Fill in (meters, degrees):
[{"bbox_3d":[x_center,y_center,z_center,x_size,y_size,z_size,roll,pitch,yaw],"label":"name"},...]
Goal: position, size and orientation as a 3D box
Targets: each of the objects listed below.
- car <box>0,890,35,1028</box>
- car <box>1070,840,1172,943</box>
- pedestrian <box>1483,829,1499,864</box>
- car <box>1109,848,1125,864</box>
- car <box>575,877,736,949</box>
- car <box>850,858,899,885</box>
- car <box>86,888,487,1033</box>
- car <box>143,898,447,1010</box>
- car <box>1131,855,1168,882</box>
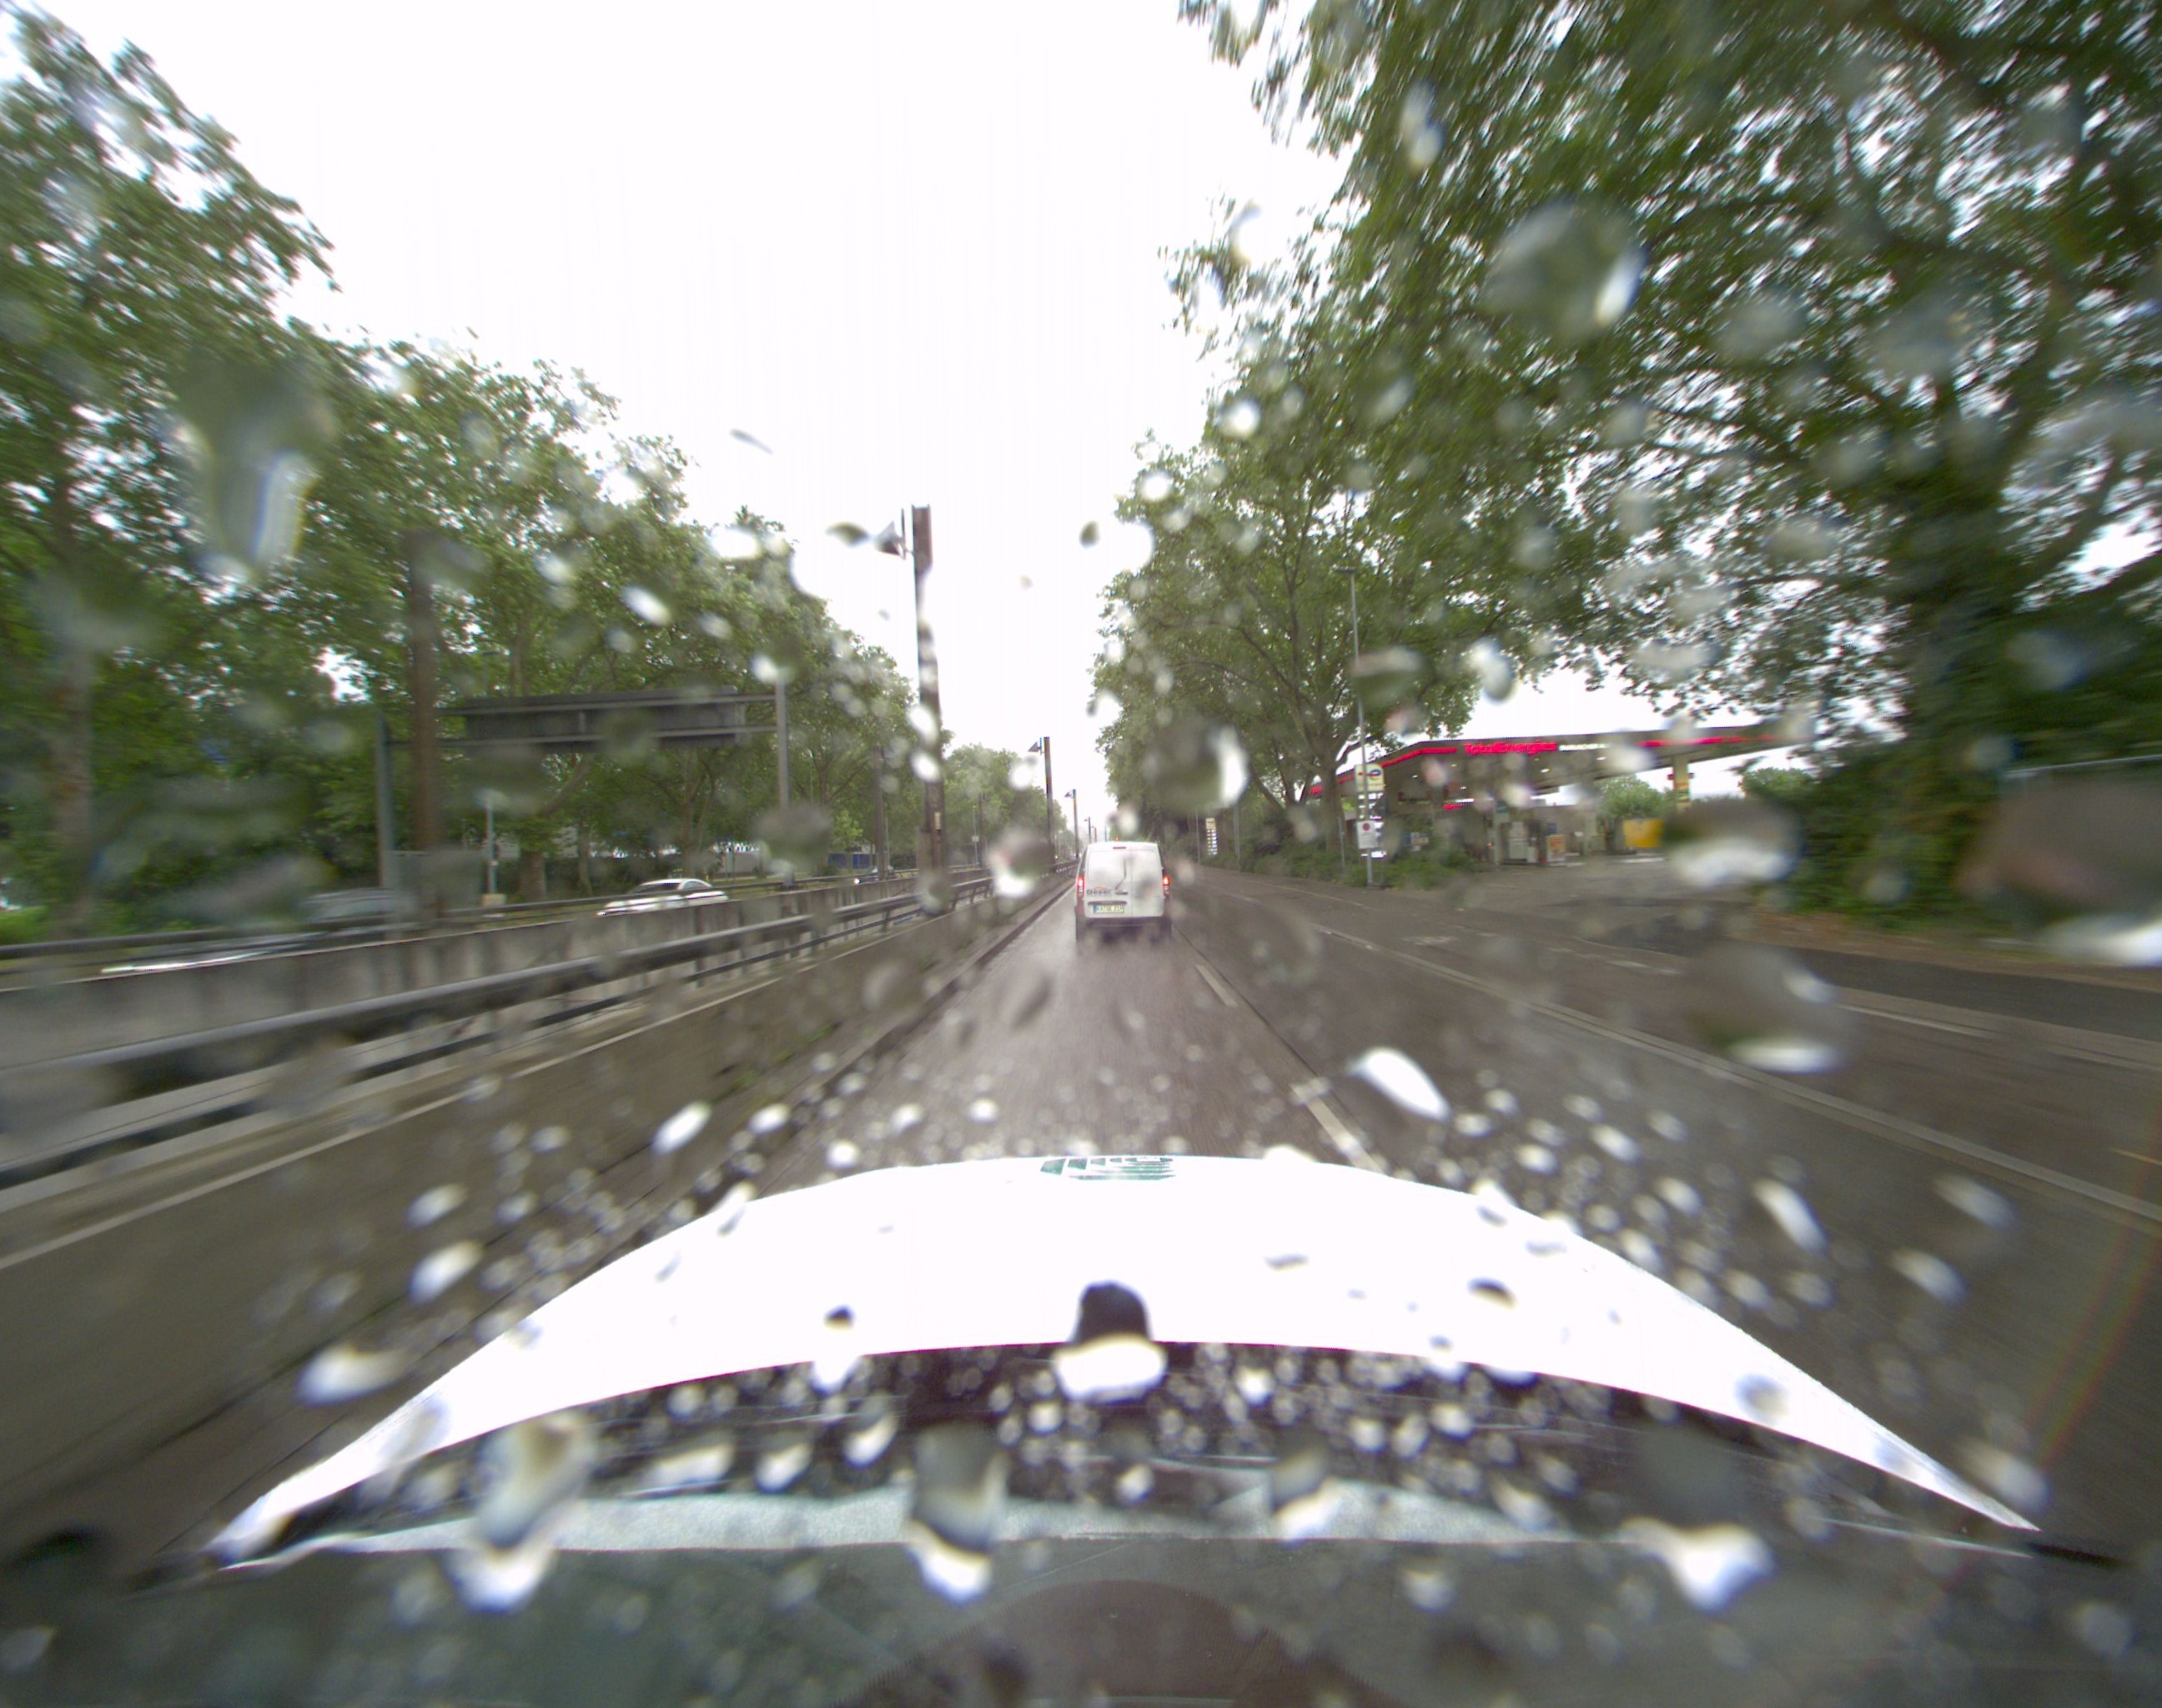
[{"bbox_3d":[-18.115,1.713,10.911,1.747,2.170,4.851,-3,-1,3],"label":"car"},{"bbox_3d":[0.726,0.644,16.004,1.749,1.777,4.001,0,0,1],"label":"car"},{"bbox_3d":[20.403,-0.380,40.544,0.549,1.725,0.729,-3,-1,21],"label":"pedestrian"},{"bbox_3d":[4.975,0.323,112.427,2.040,2.140,4.003,-3,-1,3],"label":"car"},{"bbox_3d":[-11.677,1.537,22.765,1.987,1.632,4.580,-3,-1,0],"label":"car"},{"bbox_3d":[-13.420,1.132,53.204,1.899,1.571,4.003,-3,0,3],"label":"car"},{"bbox_3d":[-11.719,1.459,12.515,1.985,1.632,4.091,-3,-1,3],"label":"car"},{"bbox_3d":[-15.084,1.830,16.013,1.840,1.632,4.091,-3,-1,3],"label":"car"},{"bbox_3d":[4.465,0.925,53.610,1.988,1.585,3.998,-3,-1,-1],"label":"car"}]
